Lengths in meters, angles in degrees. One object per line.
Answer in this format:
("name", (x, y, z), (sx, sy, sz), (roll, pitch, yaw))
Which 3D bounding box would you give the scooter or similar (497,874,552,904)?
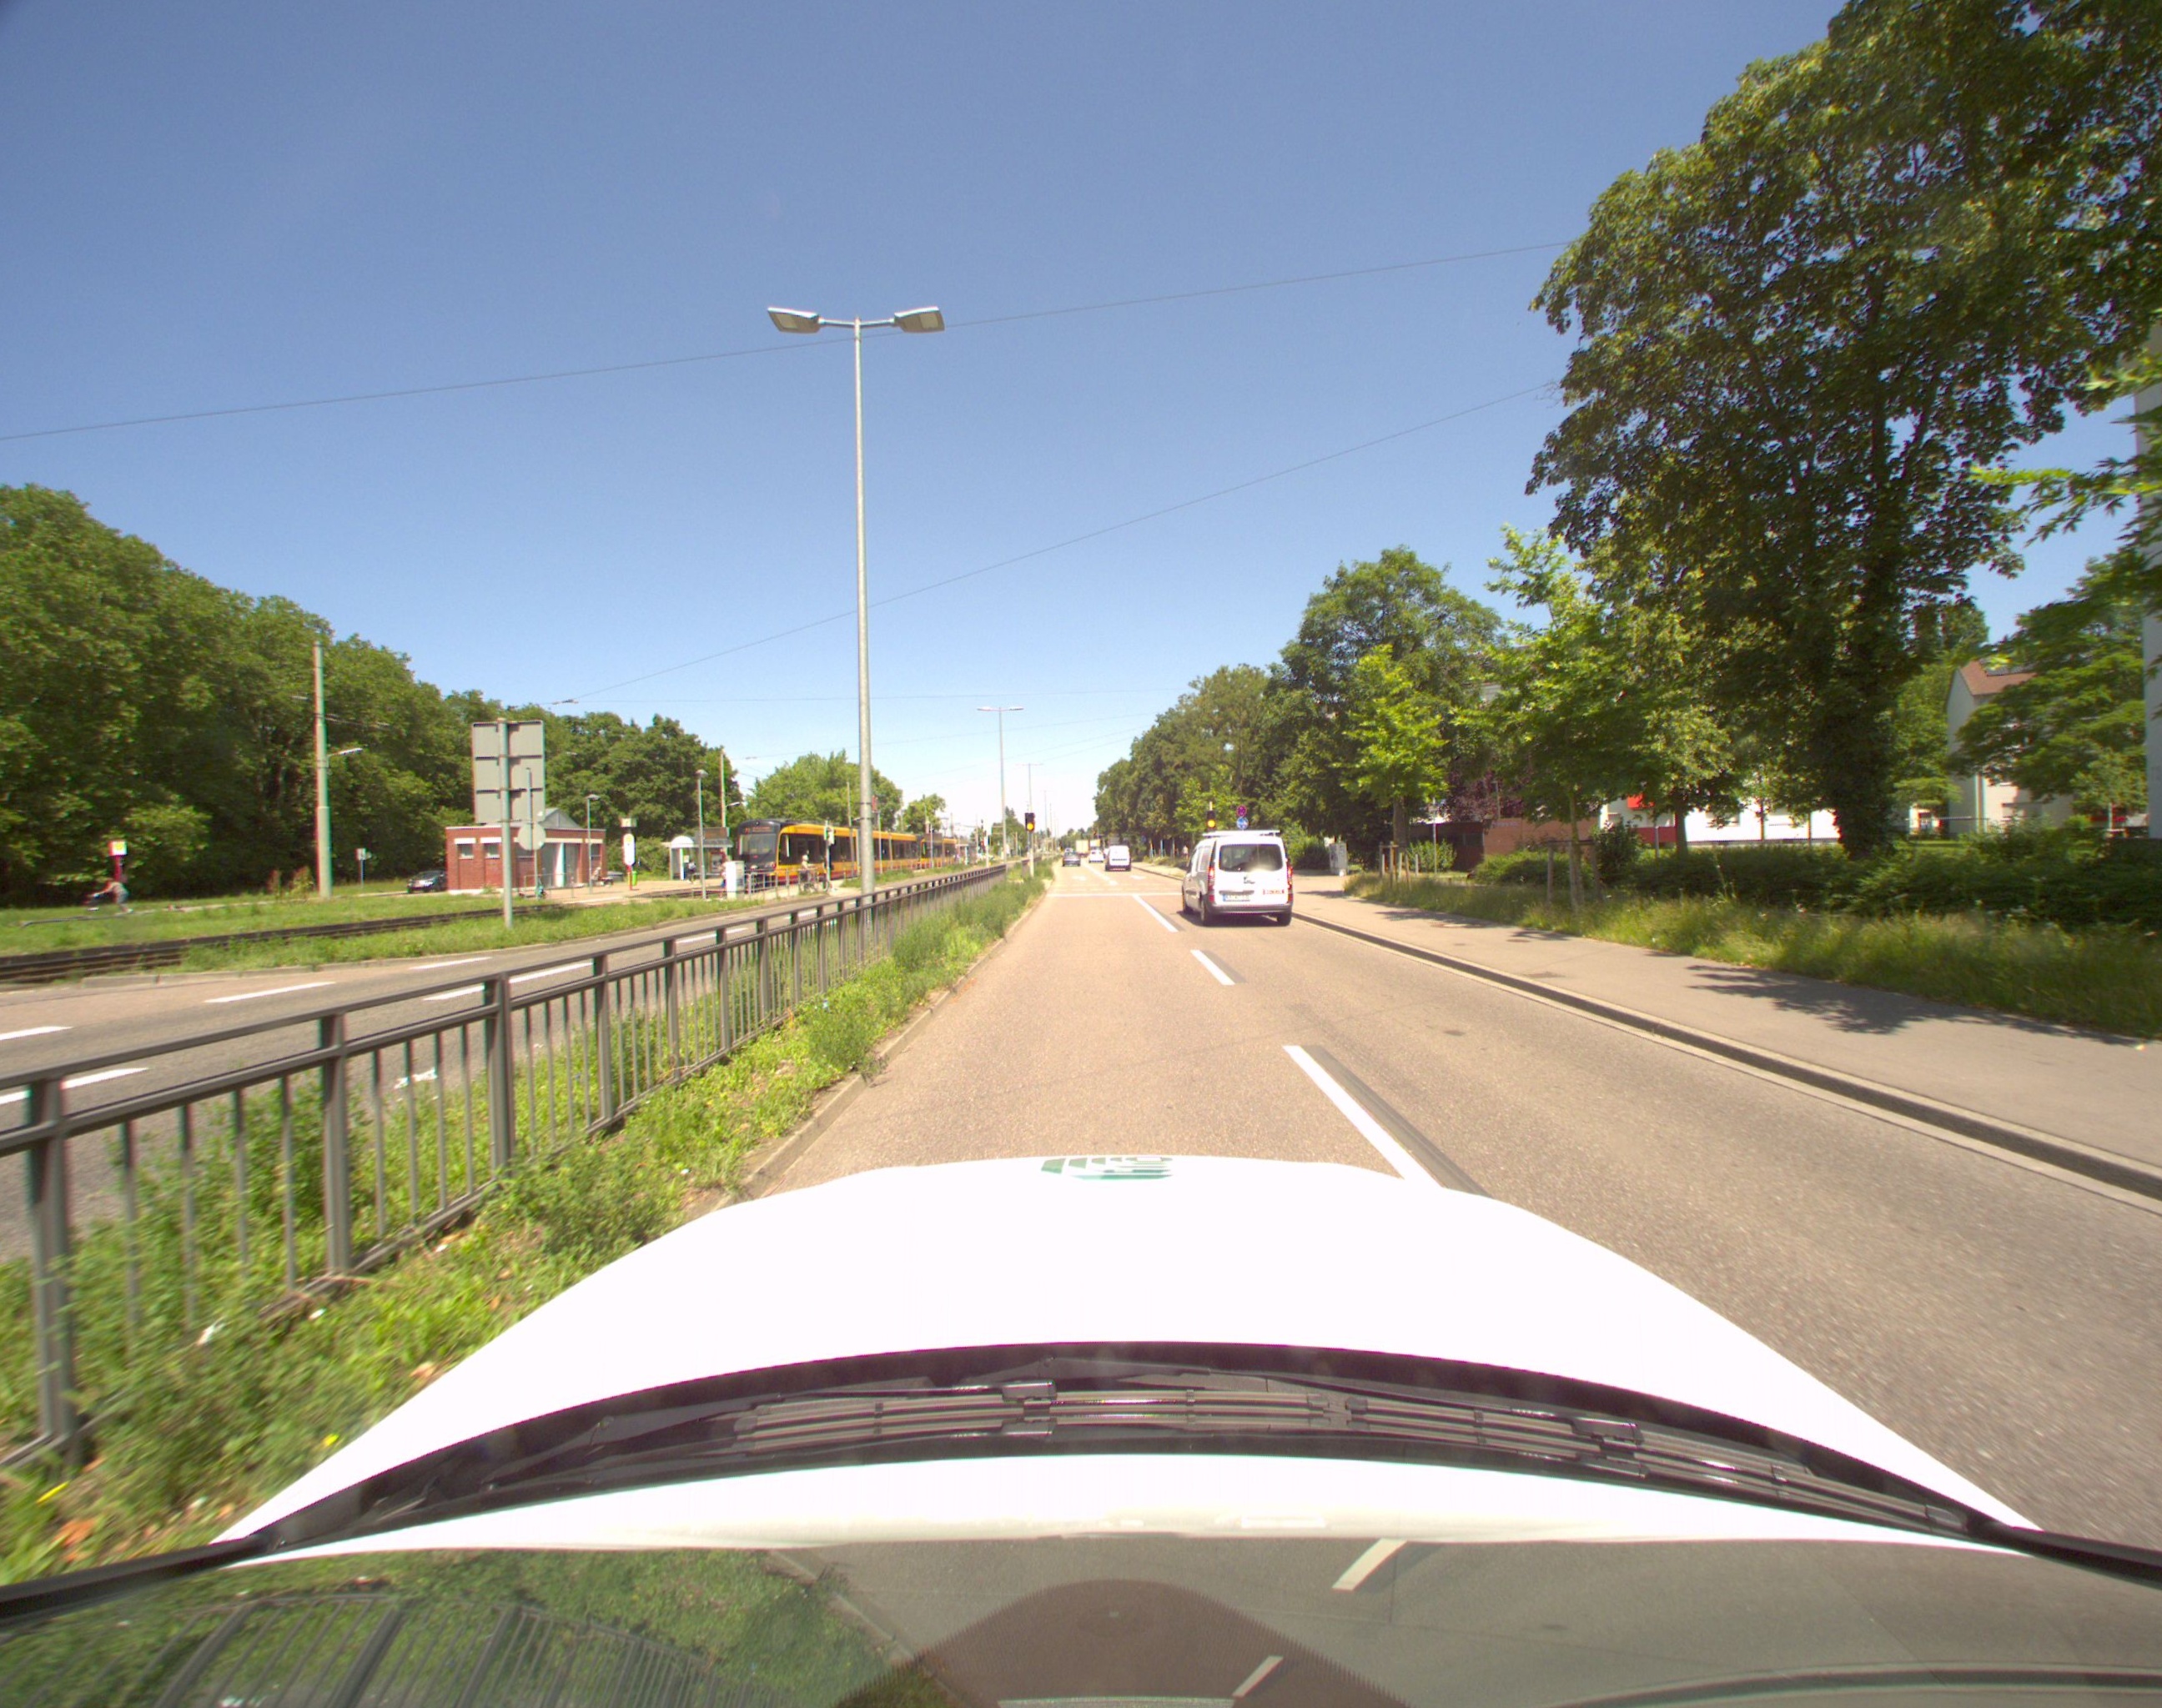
("scooter or similar", (-22.173, 1.377, 32.458), (0.605, 1.127, 1.684), (-2, 0, 43))

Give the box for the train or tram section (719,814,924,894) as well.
("train or tram section", (-15.823, -0.043, 57.062), (2.779, 3.668, 37.503), (-1, 0, -1))

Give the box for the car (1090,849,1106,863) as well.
("car", (2.047, 0.255, 98.308), (1.798, 1.540, 3.998), (-1, 0, -1))

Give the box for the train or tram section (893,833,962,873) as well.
("train or tram section", (-16.204, -0.129, 88.793), (2.779, 3.668, 25.988), (-1, 0, -1))

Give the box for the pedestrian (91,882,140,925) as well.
("pedestrian", (-40.795, 2.070, 34.420), (0.511, 1.701, 1.278), (-2, 0, 44))

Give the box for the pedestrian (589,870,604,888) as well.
("pedestrian", (-27.662, 1.431, 46.506), (0.480, 1.018, 0.522), (-2, 0, 1))

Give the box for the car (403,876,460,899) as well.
("car", (-45.849, 2.332, 57.568), (2.001, 1.467, 3.972), (-1, 0, -21))

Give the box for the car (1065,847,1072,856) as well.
("car", (-2.862, -0.566, 189.666), (1.683, 1.897, 3.868), (-2, 0, -1))

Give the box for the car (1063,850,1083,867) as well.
("car", (-0.764, 0.428, 77.033), (1.796, 1.486, 3.998), (-1, 0, -1))

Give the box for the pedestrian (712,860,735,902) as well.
("pedestrian", (-13.552, 1.003, 30.844), (0.541, 1.541, 0.859), (-2, 0, -40))

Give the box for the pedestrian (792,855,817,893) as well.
("pedestrian", (-12.283, 0.876, 36.227), (0.815, 1.628, 0.706), (-1, 0, 4))

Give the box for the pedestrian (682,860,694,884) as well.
("pedestrian", (-24.167, 1.096, 50.100), (0.460, 1.435, 0.524), (-1, 0, -3))

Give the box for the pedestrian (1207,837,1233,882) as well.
("pedestrian", (5.824, 0.235, 34.092), (1.039, 1.850, 0.760), (-1, 0, 12))

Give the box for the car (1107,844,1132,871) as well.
("car", (2.799, 0.217, 58.627), (1.720, 1.813, 4.004), (-1, 1, 3))

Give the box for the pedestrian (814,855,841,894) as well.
("pedestrian", (-11.884, 0.957, 38.207), (0.949, 1.796, 0.709), (-1, 0, 28))

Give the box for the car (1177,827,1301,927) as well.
("car", (3.264, 0.421, 17.666), (1.818, 1.881, 4.455), (-1, 0, 0))

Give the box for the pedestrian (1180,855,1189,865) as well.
("pedestrian", (9.983, 0.574, 78.543), (0.676, 0.847, 1.773), (-1, 0, -1))

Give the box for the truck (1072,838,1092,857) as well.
("truck", (0.164, -1.303, 173.229), (3.888, 3.812, 10.788), (-2, 0, -1))

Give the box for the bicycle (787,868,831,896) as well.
("bicycle", (-12.066, 1.234, 36.088), (1.855, 1.157, 0.243), (-1, 0, 4))

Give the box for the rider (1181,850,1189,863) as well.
("rider", (9.985, 0.217, 78.485), (0.676, 1.281, 0.533), (-1, 0, -1))
